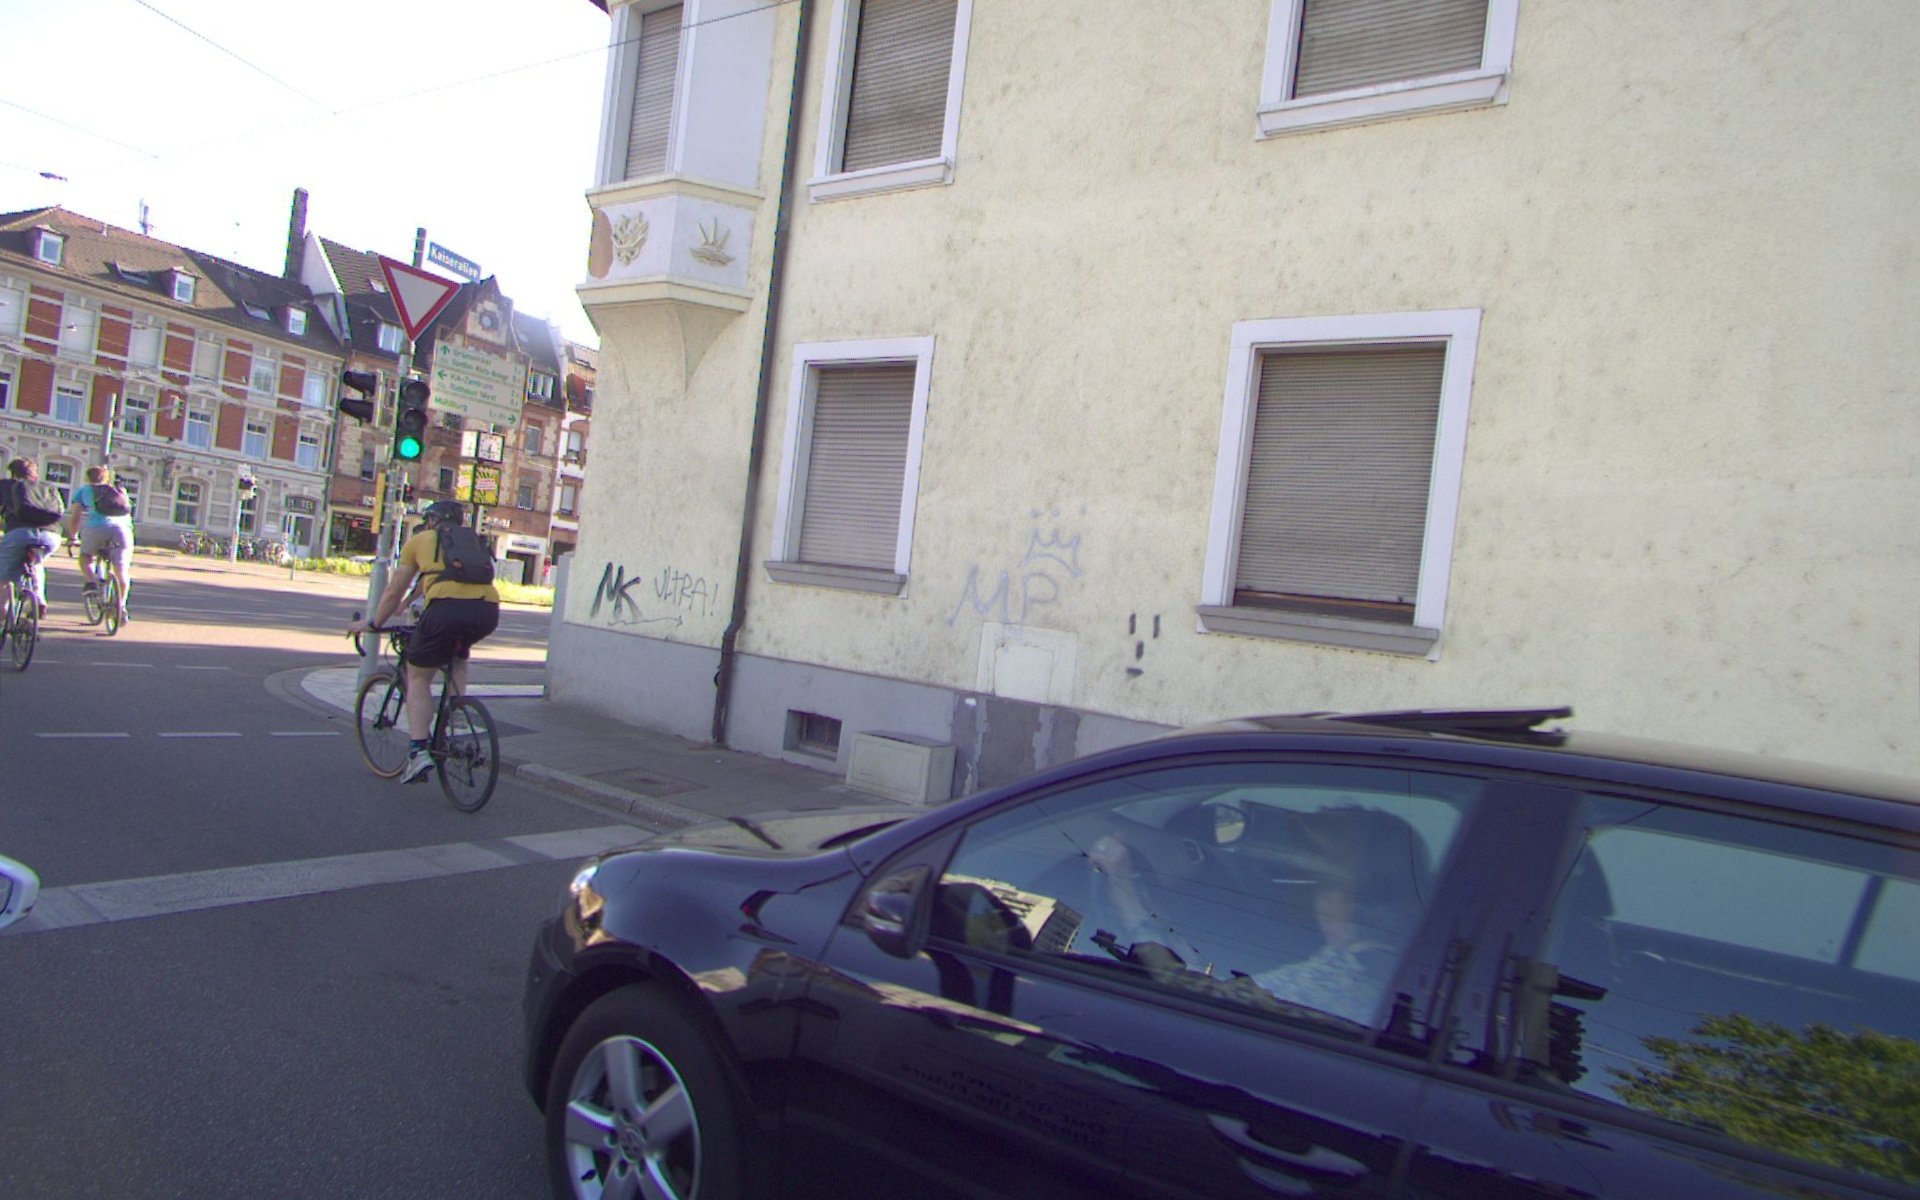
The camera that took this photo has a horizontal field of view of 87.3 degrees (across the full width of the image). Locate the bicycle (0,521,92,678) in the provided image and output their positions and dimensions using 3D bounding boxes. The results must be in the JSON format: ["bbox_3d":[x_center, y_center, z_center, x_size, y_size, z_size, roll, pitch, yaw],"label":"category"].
[{"bbox_3d":[-8.446,-0.060,8.877,1.677,1.251,0.755,6,-2,37],"label":"bicycle"}]

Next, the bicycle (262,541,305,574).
[{"bbox_3d":[-32.667,-2.060,48.580,2.618,1.301,0.629,6,-1,33],"label":"bicycle"}]

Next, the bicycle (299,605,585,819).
[{"bbox_3d":[-3.331,0.669,6.428,1.751,1.043,0.756,6,-2,33],"label":"bicycle"}]

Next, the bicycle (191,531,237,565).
[{"bbox_3d":[-34.184,-2.385,46.065,2.618,1.301,0.693,6,-1,33],"label":"bicycle"}]

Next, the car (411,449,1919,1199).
[{"bbox_3d":[0.806,0.704,2.288,3.983,1.525,1.732,9,-1,32],"label":"car"}]

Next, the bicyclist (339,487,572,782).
[{"bbox_3d":[-3.173,0.213,6.360,0.869,1.682,0.807,6,-1,32],"label":"bicyclist"}]

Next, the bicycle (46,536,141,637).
[{"bbox_3d":[-10.419,-0.185,12.073,1.748,1.043,0.648,6,-2,45],"label":"bicycle"}]

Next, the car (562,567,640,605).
[{"bbox_3d":[-23.229,-0.875,65.284,1.967,1.798,4.374,6,-2,31],"label":"car"}]

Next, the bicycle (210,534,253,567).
[{"bbox_3d":[-33.817,-2.315,46.690,2.618,1.301,0.629,6,-1,33],"label":"bicycle"}]

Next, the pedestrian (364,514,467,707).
[{"bbox_3d":[-5.263,0.097,9.755,0.631,1.780,0.584,4,3,-7],"label":"pedestrian"}]

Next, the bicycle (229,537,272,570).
[{"bbox_3d":[-33.403,-2.212,47.362,2.618,1.301,0.629,6,-1,33],"label":"bicycle"}]

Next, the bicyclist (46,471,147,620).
[{"bbox_3d":[-10.348,-0.648,12.057,0.872,1.652,0.688,6,-1,44],"label":"bicyclist"}]

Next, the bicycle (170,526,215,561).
[{"bbox_3d":[-34.687,-2.556,45.450,2.618,1.301,0.693,6,-1,33],"label":"bicycle"}]

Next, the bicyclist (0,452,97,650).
[{"bbox_3d":[-8.321,-0.441,8.836,0.870,1.625,0.806,6,-1,37],"label":"bicyclist"}]

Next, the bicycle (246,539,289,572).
[{"bbox_3d":[-33.037,-2.138,47.991,2.618,1.301,0.629,6,-1,33],"label":"bicycle"}]

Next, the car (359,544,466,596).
[{"bbox_3d":[-25.457,-1.377,46.904,1.967,1.798,3.790,6,-2,31],"label":"car"}]
